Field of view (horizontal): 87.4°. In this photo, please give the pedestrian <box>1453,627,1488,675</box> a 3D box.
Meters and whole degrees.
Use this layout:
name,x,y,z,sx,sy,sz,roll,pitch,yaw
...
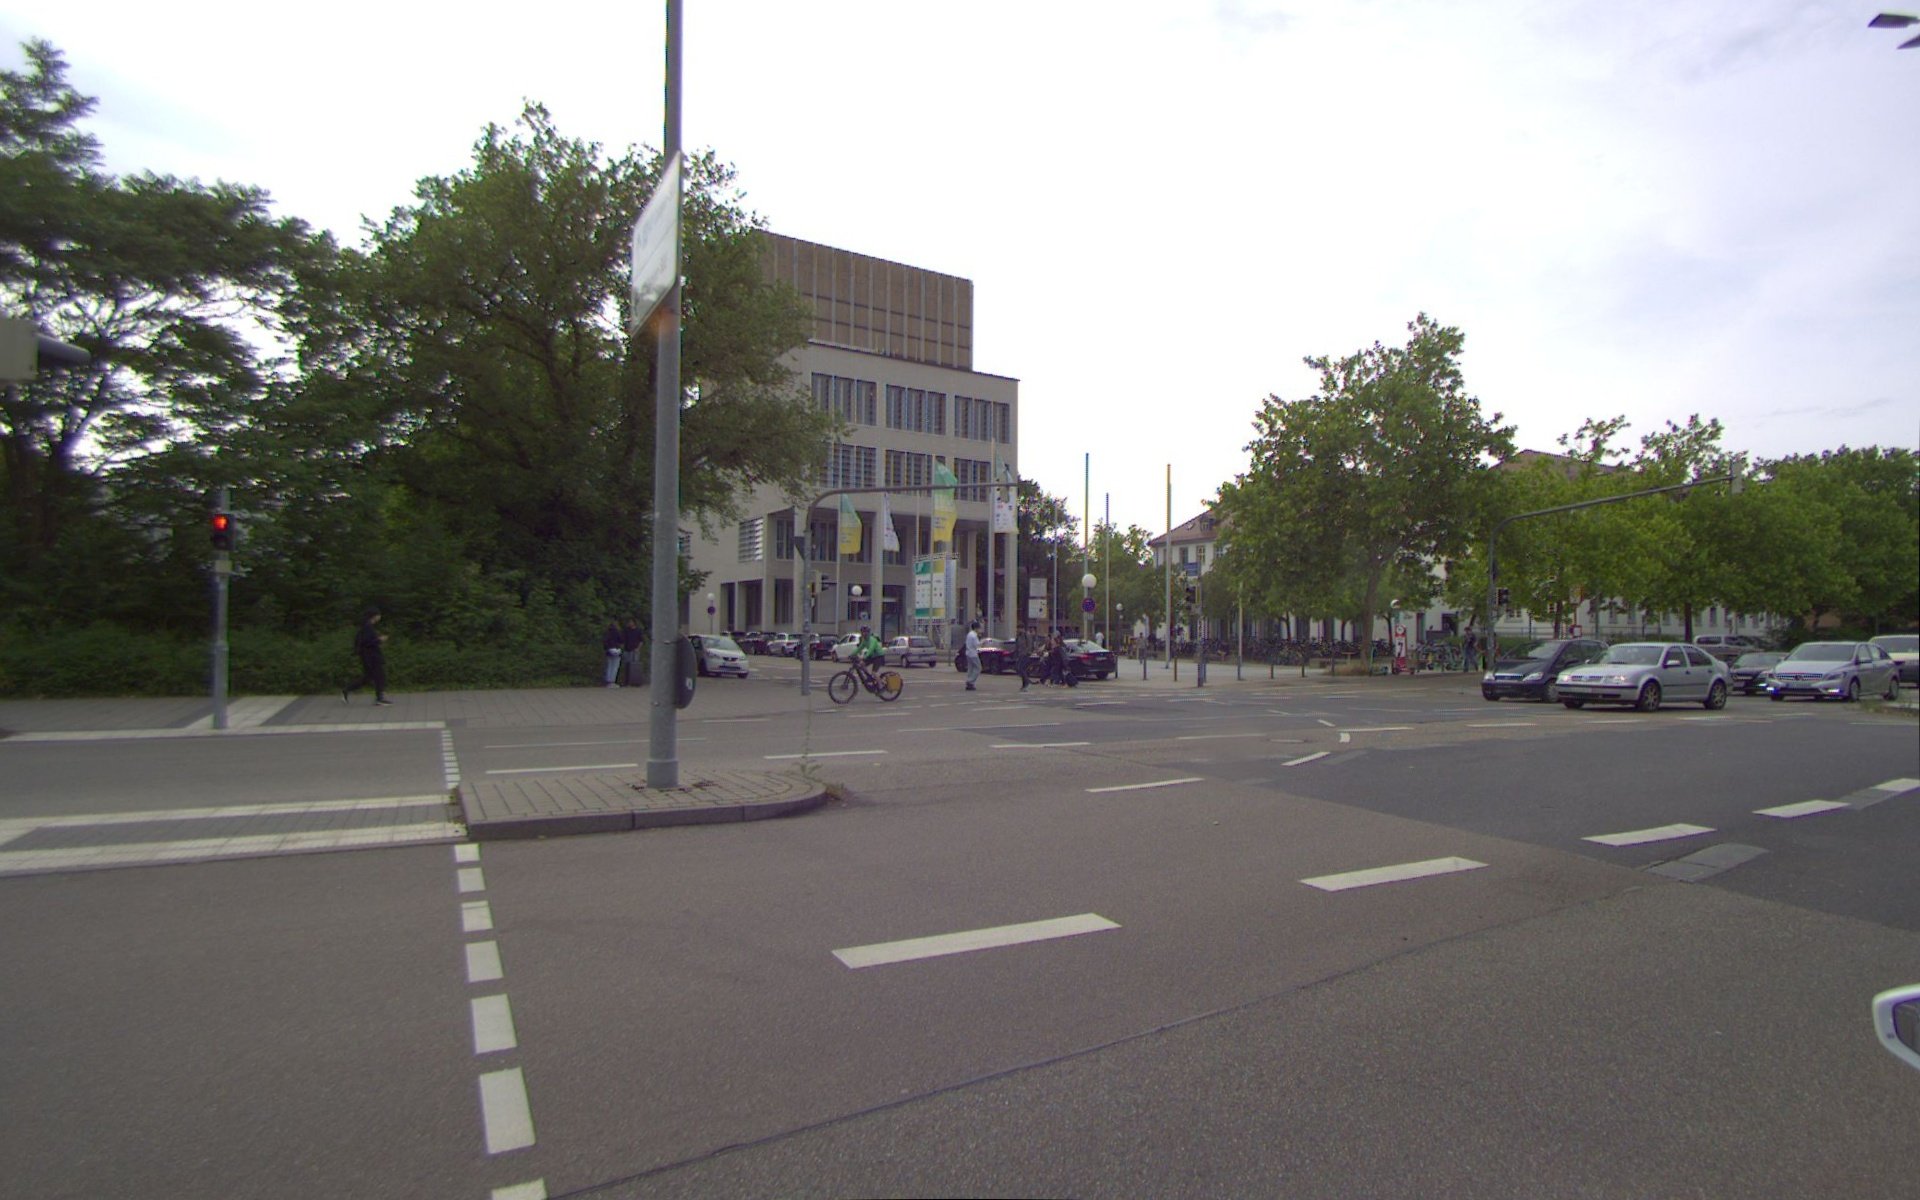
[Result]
name,x,y,z,sx,sy,sz,roll,pitch,yaw
pedestrian,20.027,1.992,39.386,0.927,1.827,0.889,2,-3,-36

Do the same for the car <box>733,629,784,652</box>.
name,x,y,z,sx,sy,sz,roll,pitch,yaw
car,-12.801,2.597,63.777,1.973,1.415,3.869,1,-3,-32

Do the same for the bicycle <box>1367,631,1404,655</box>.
name,x,y,z,sx,sy,sz,roll,pitch,yaw
bicycle,29.246,2.959,69.062,0.907,1.579,2.659,1,-2,-15

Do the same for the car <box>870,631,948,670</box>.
name,x,y,z,sx,sy,sz,roll,pitch,yaw
car,-2.444,2.352,47.315,1.979,1.601,3.963,2,0,-33

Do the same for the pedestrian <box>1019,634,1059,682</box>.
name,x,y,z,sx,sy,sz,roll,pitch,yaw
pedestrian,2.598,1.889,33.013,0.967,1.533,0.815,1,0,-40

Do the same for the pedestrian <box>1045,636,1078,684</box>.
name,x,y,z,sx,sy,sz,roll,pitch,yaw
pedestrian,3.230,1.901,31.887,0.688,1.447,0.998,1,0,30

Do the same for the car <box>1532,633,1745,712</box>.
name,x,y,z,sx,sy,sz,roll,pitch,yaw
car,14.642,1.511,21.678,4.217,1.549,1.987,1,-2,-26

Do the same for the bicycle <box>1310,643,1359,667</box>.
name,x,y,z,sx,sy,sz,roll,pitch,yaw
bicycle,20.568,3.022,55.221,0.714,1.286,2.518,2,-2,-35

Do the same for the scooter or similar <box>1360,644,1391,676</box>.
name,x,y,z,sx,sy,sz,roll,pitch,yaw
scooter or similar,15.131,2.171,36.562,1.305,1.155,0.358,2,-2,-33

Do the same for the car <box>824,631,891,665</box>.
name,x,y,z,sx,sy,sz,roll,pitch,yaw
car,-5.309,2.441,51.613,1.834,1.706,3.964,2,-2,-33

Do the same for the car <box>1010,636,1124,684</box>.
name,x,y,z,sx,sy,sz,roll,pitch,yaw
car,3.930,2.190,37.436,1.981,1.491,4.114,2,0,-35

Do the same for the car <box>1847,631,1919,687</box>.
name,x,y,z,sx,sy,sz,roll,pitch,yaw
car,34.694,2.135,37.002,4.437,1.872,1.762,2,0,-31

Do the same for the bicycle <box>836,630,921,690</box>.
name,x,y,z,sx,sy,sz,roll,pitch,yaw
bicycle,-1.911,1.395,24.020,0.597,1.351,2.302,1,0,38

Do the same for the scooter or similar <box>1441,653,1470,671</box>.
name,x,y,z,sx,sy,sz,roll,pitch,yaw
scooter or similar,20.570,2.560,41.704,1.274,0.703,0.405,2,0,-30

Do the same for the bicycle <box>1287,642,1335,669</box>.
name,x,y,z,sx,sy,sz,roll,pitch,yaw
bicycle,18.954,2.976,54.284,0.714,1.371,2.468,2,-2,-35

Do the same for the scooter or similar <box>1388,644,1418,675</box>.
name,x,y,z,sx,sy,sz,roll,pitch,yaw
scooter or similar,16.491,2.211,37.411,1.305,1.155,0.358,2,-2,-33

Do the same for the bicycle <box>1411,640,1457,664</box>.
name,x,y,z,sx,sy,sz,roll,pitch,yaw
bicycle,23.732,2.577,50.306,2.006,1.168,0.718,-1,-2,41

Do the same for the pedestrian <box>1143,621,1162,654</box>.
name,x,y,z,sx,sy,sz,roll,pitch,yaw
pedestrian,11.975,2.360,62.505,0.784,2.040,0.892,1,-2,-25

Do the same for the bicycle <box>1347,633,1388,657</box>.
name,x,y,z,sx,sy,sz,roll,pitch,yaw
bicycle,27.611,3.030,68.079,0.907,1.579,3.080,1,-2,-15

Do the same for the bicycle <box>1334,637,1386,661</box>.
name,x,y,z,sx,sy,sz,roll,pitch,yaw
bicycle,22.648,2.767,56.924,0.714,1.347,2.799,2,-2,-35

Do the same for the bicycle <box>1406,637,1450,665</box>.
name,x,y,z,sx,sy,sz,roll,pitch,yaw
bicycle,28.491,3.092,61.130,0.714,1.615,2.383,2,-2,-35

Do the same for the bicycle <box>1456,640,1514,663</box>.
name,x,y,z,sx,sy,sz,roll,pitch,yaw
bicycle,27.876,2.733,53.365,0.714,1.190,2.728,2,-2,-35

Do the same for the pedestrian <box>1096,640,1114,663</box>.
name,x,y,z,sx,sy,sz,roll,pitch,yaw
pedestrian,9.205,3.282,63.947,0.784,1.437,0.892,1,-2,-25

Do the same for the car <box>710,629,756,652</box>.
name,x,y,z,sx,sy,sz,roll,pitch,yaw
car,-15.334,2.711,67.665,1.937,1.475,3.652,2,-3,-32

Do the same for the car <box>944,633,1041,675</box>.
name,x,y,z,sx,sy,sz,roll,pitch,yaw
car,1.284,2.178,41.412,1.981,1.491,3.960,2,0,-35

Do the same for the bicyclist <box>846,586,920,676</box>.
name,x,y,z,sx,sy,sz,roll,pitch,yaw
bicyclist,-1.823,0.715,23.794,1.166,2.040,1.276,1,0,38

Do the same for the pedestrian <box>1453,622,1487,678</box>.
name,x,y,z,sx,sy,sz,roll,pitch,yaw
pedestrian,19.240,1.879,37.883,0.918,2.040,0.795,1,0,-39

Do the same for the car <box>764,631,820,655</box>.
name,x,y,z,sx,sy,sz,roll,pitch,yaw
car,-10.083,2.545,60.093,1.985,1.379,3.966,1,-2,-32

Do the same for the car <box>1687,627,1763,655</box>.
name,x,y,z,sx,sy,sz,roll,pitch,yaw
car,49.113,2.642,64.551,1.635,1.623,3.563,2,0,-34

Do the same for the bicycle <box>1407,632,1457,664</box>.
name,x,y,z,sx,sy,sz,roll,pitch,yaw
bicycle,24.246,2.460,51.666,0.893,1.579,2.172,2,-2,-42

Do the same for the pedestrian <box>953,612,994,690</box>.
name,x,y,z,sx,sy,sz,roll,pitch,yaw
pedestrian,0.380,1.428,28.447,0.843,2.087,0.662,-6,5,-32

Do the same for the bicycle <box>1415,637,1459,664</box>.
name,x,y,z,sx,sy,sz,roll,pitch,yaw
bicycle,29.379,3.119,61.883,0.714,1.615,2.383,2,-2,-35

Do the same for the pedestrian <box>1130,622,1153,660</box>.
name,x,y,z,sx,sy,sz,roll,pitch,yaw
pedestrian,9.919,2.260,54.878,0.783,2.040,1.092,-1,-3,41

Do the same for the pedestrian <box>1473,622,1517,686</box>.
name,x,y,z,sx,sy,sz,roll,pitch,yaw
pedestrian,17.509,1.761,32.867,0.999,2.040,0.888,2,-2,-34

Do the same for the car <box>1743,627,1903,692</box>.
name,x,y,z,sx,sy,sz,roll,pitch,yaw
car,23.037,1.556,26.794,4.205,1.604,1.949,1,-3,-30

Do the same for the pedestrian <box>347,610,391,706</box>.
name,x,y,z,sx,sy,sz,roll,pitch,yaw
pedestrian,-10.883,1.059,18.502,0.645,1.717,0.587,1,0,-29

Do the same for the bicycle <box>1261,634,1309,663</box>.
name,x,y,z,sx,sy,sz,roll,pitch,yaw
bicycle,18.377,2.736,56.791,0.774,1.579,2.639,2,-2,-37

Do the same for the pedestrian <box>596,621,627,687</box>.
name,x,y,z,sx,sy,sz,roll,pitch,yaw
pedestrian,-8.804,1.355,25.362,0.597,1.627,0.497,2,-3,-41

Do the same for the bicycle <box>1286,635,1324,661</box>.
name,x,y,z,sx,sy,sz,roll,pitch,yaw
bicycle,21.782,3.011,63.494,0.907,1.579,2.659,1,-2,-15

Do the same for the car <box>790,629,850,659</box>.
name,x,y,z,sx,sy,sz,roll,pitch,yaw
car,-7.817,2.420,55.734,1.868,1.573,3.966,1,-2,-32

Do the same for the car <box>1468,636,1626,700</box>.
name,x,y,z,sx,sy,sz,roll,pitch,yaw
car,14.728,1.657,25.198,3.653,1.483,1.844,2,-2,-29

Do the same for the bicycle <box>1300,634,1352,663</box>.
name,x,y,z,sx,sy,sz,roll,pitch,yaw
bicycle,20.681,2.716,56.765,0.916,1.579,2.634,2,-2,-42

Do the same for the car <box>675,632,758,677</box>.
name,x,y,z,sx,sy,sz,roll,pitch,yaw
car,-8.800,1.922,36.131,1.843,1.469,3.564,2,-1,-32

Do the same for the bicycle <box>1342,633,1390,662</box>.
name,x,y,z,sx,sy,sz,roll,pitch,yaw
bicycle,23.341,2.726,57.833,0.916,1.579,2.422,2,-2,-42

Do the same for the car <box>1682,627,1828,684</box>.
name,x,y,z,sx,sy,sz,roll,pitch,yaw
car,24.290,1.661,30.695,3.947,1.641,1.987,1,-2,-26

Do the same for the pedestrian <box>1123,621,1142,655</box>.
name,x,y,z,sx,sy,sz,roll,pitch,yaw
pedestrian,10.546,2.311,61.435,0.970,2.040,0.795,1,-2,-4

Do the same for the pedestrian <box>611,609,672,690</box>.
name,x,y,z,sx,sy,sz,roll,pitch,yaw
pedestrian,-8.348,1.281,26.377,1.022,2.040,1.099,1,0,27

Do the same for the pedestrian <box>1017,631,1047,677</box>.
name,x,y,z,sx,sy,sz,roll,pitch,yaw
pedestrian,3.277,2.443,45.756,1.006,2.040,0.997,1,-2,-33

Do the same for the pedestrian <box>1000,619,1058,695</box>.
name,x,y,z,sx,sy,sz,roll,pitch,yaw
pedestrian,1.932,1.566,28.117,1.166,2.040,1.137,1,0,38
